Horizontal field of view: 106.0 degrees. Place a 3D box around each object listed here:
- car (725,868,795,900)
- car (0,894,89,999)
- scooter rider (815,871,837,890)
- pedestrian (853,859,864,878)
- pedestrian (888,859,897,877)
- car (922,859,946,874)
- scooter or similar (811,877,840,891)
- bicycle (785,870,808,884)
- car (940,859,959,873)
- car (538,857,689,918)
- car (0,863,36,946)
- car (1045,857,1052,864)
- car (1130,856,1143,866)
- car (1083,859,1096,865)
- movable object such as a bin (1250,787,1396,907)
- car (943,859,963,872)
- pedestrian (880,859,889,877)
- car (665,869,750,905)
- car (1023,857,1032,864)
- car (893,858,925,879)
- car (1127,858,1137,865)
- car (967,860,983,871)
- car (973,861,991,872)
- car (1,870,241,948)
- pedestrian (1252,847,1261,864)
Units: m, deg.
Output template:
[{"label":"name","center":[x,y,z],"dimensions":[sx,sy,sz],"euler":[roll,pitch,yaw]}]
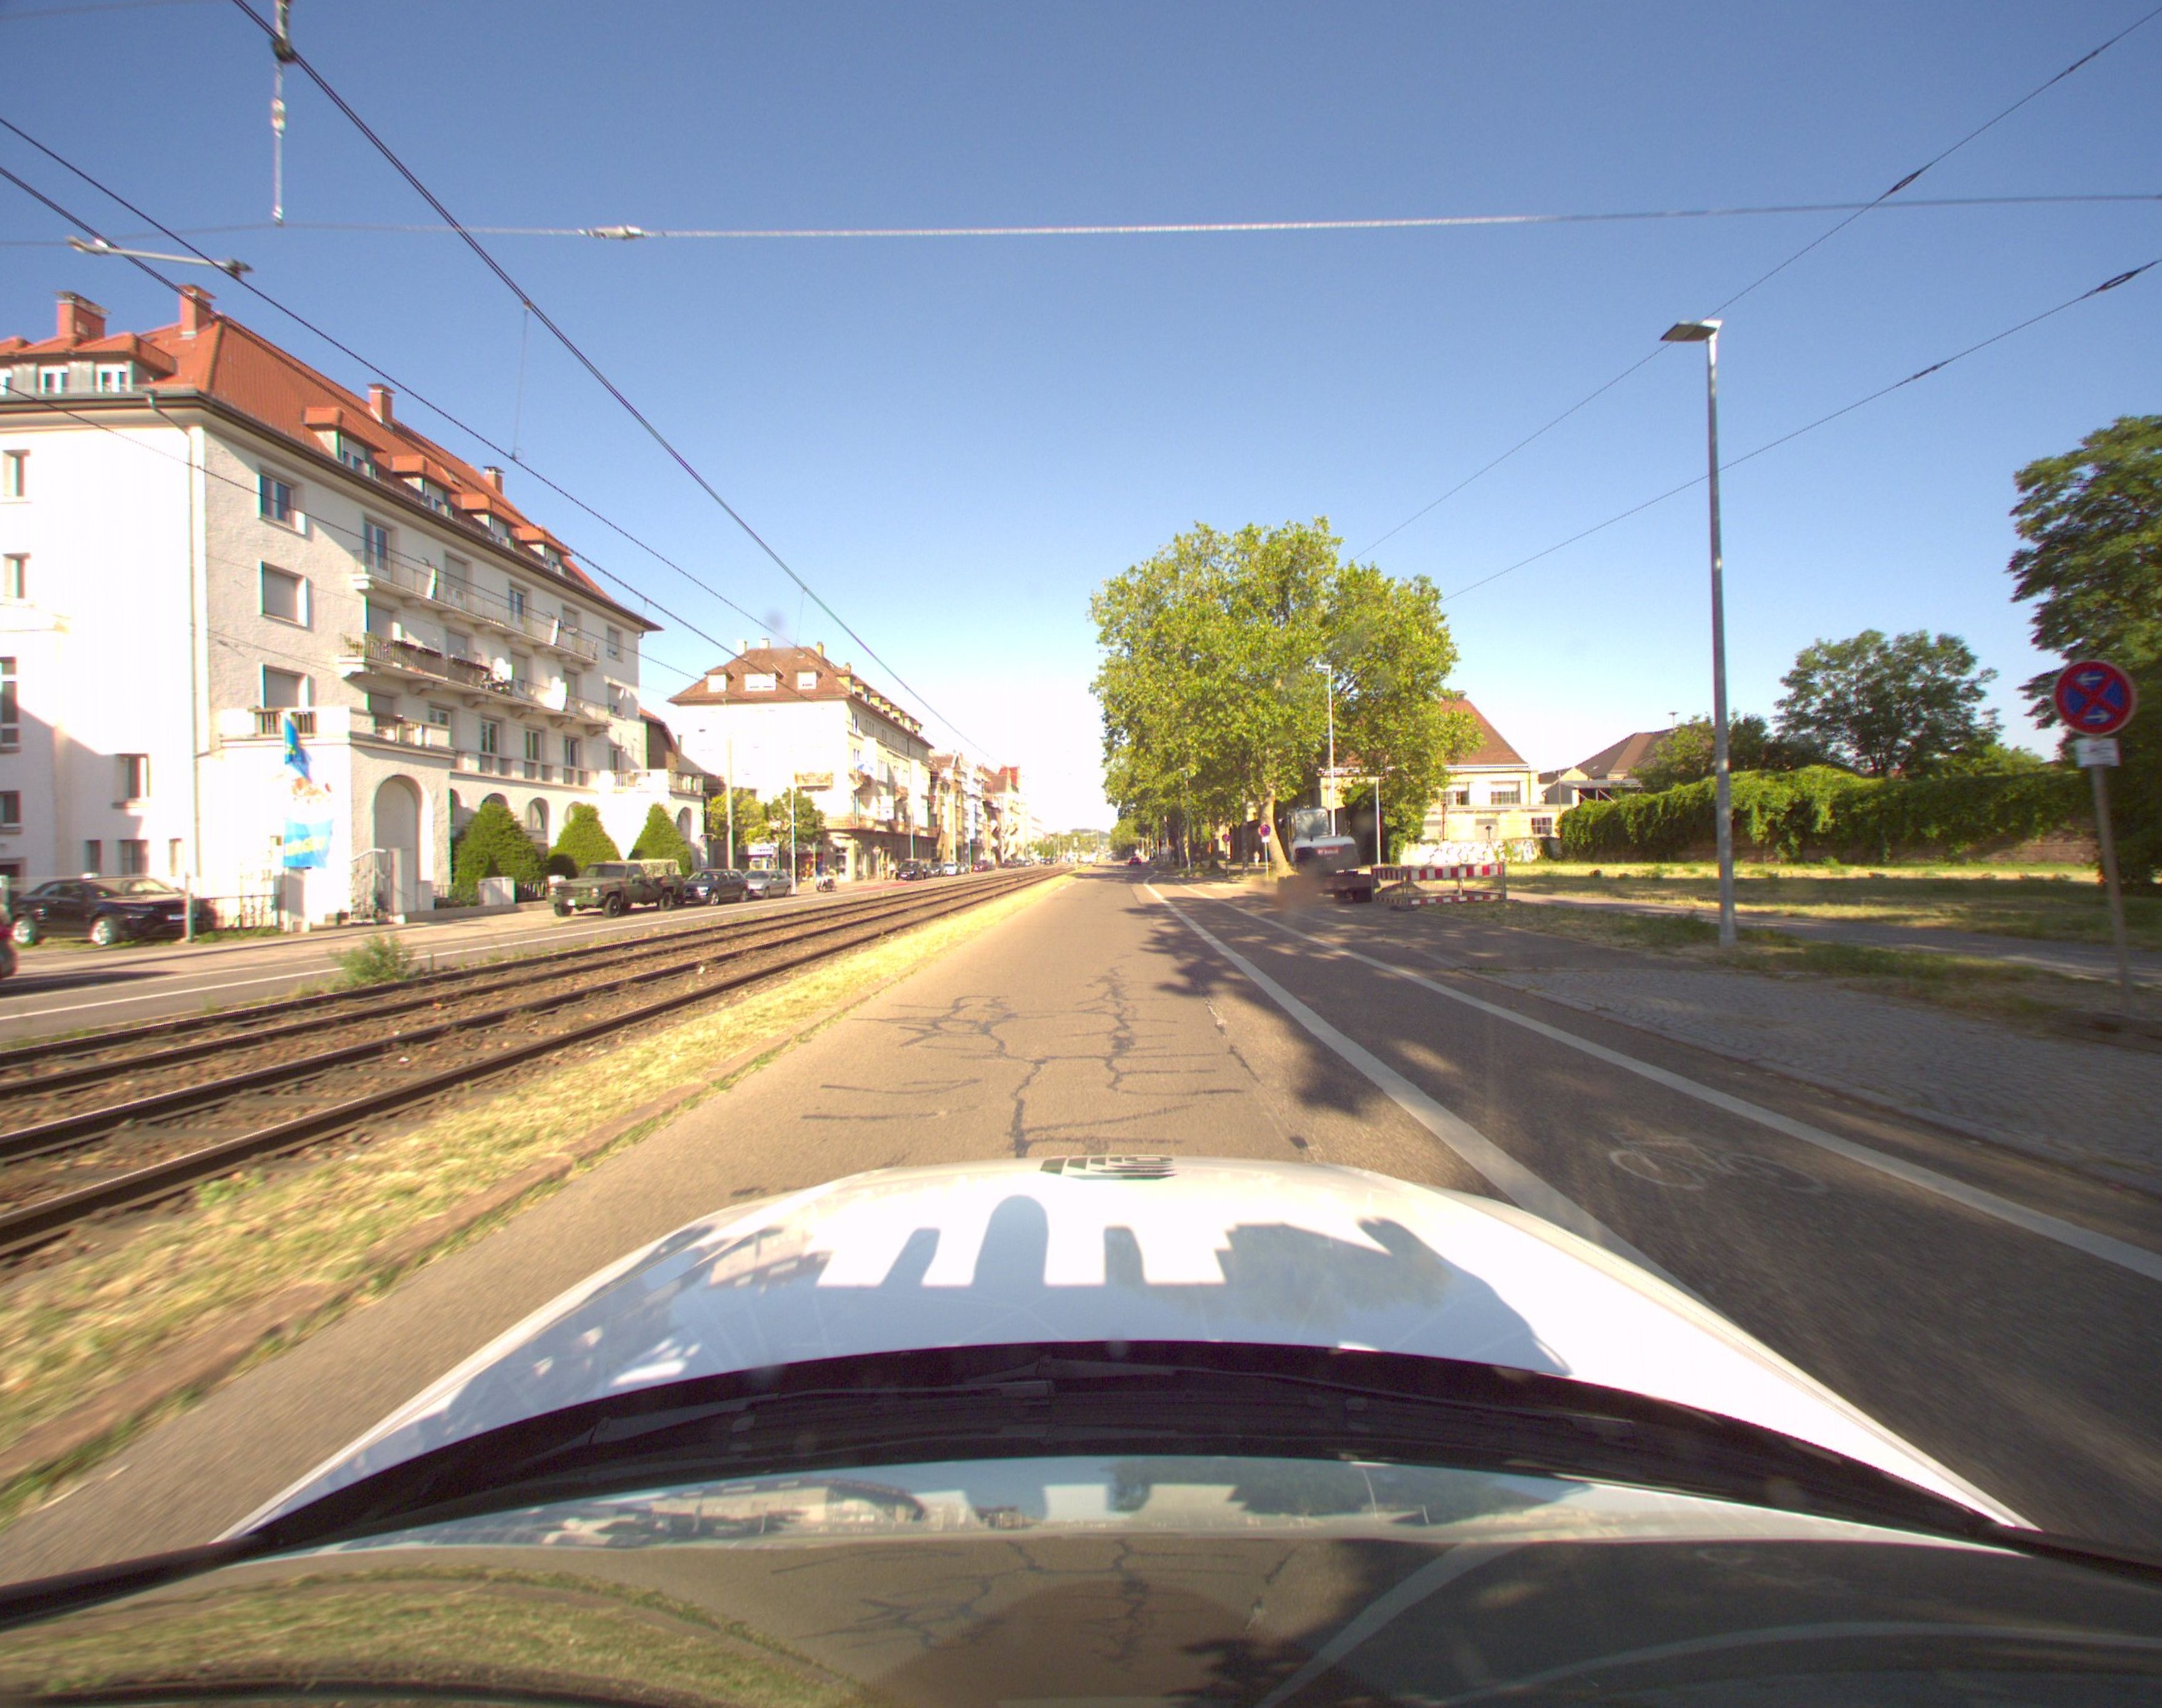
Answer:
[{"label":"car","center":[-16.351,1.485,41.746],"dimensions":[1.786,1.510,4.003],"euler":[0,-1,3]},{"label":"car","center":[-17.439,1.435,11.044],"dimensions":[1.914,1.461,4.842],"euler":[4,0,0]},{"label":"scooter rider","center":[-15.350,1.614,49.029],"dimensions":[0.966,1.089,0.813],"euler":[-2,0,33]},{"label":"pedestrian","center":[-19.888,1.268,72.791],"dimensions":[0.637,1.661,0.955],"euler":[0,-1,4]},{"label":"pedestrian","center":[-17.597,1.321,76.128],"dimensions":[0.586,1.697,0.858],"euler":[0,-1,4]},{"label":"car","center":[-15.229,1.263,84.677],"dimensions":[1.629,1.469,4.160],"euler":[2,0,1]},{"label":"scooter or similar","center":[-15.379,1.806,49.047],"dimensions":[1.549,0.770,0.813],"euler":[-2,0,33]},{"label":"bicycle","center":[-21.837,1.773,62.562],"dimensions":[0.681,1.016,2.416],"euler":[0,0,4]},{"label":"car","center":[-14.508,1.344,89.980],"dimensions":[1.632,1.469,3.977],"euler":[1,-3,-4]},{"label":"car","center":[-17.177,1.146,30.376],"dimensions":[2.068,2.010,5.597],"euler":[0,0,4]},{"label":"car","center":[-28.659,1.323,19.996],"dimensions":[4.044,2.002,1.995],"euler":[-2,1,11]},{"label":"car","center":[-8.111,1.610,202.330],"dimensions":[1.630,1.601,4.158],"euler":[-3,0,0]},{"label":"car","center":[8.605,1.082,126.794],"dimensions":[1.826,1.391,4.160],"euler":[-1,0,1]},{"label":"car","center":[2.267,2.148,219.793],"dimensions":[1.806,1.510,3.959],"euler":[1,-1,-32]},{"label":"movable object such as a bin","center":[7.552,-0.215,26.513],"dimensions":[2.733,3.145,7.225],"euler":[-5,0,3]},{"label":"car","center":[-15.565,1.422,99.040],"dimensions":[1.629,1.469,4.162],"euler":[0,0,2]},{"label":"pedestrian","center":[-18.354,1.317,76.147],"dimensions":[0.586,1.697,0.858],"euler":[0,-1,4]},{"label":"car","center":[-16.482,1.422,36.185],"dimensions":[1.628,1.507,4.163],"euler":[0,-1,4]},{"label":"car","center":[-11.793,1.458,178.245],"dimensions":[1.790,1.510,3.996],"euler":[2,0,-2]},{"label":"car","center":[-15.401,1.273,73.197],"dimensions":[1.856,1.786,4.402],"euler":[0,0,1]},{"label":"car","center":[10.586,1.614,169.531],"dimensions":[1.826,1.391,4.160],"euler":[-1,0,1]},{"label":"car","center":[-14.389,1.527,110.739],"dimensions":[1.829,1.391,4.031],"euler":[2,0,-3]},{"label":"car","center":[-14.136,1.739,116.486],"dimensions":[1.826,1.558,4.356],"euler":[0,0,3]},{"label":"car","center":[-23.350,1.312,19.885],"dimensions":[4.101,1.633,1.958],"euler":[-2,2,11]},{"label":"pedestrian","center":[17.053,0.145,79.203],"dimensions":[0.606,1.681,0.636],"euler":[-6,0,0]}]
